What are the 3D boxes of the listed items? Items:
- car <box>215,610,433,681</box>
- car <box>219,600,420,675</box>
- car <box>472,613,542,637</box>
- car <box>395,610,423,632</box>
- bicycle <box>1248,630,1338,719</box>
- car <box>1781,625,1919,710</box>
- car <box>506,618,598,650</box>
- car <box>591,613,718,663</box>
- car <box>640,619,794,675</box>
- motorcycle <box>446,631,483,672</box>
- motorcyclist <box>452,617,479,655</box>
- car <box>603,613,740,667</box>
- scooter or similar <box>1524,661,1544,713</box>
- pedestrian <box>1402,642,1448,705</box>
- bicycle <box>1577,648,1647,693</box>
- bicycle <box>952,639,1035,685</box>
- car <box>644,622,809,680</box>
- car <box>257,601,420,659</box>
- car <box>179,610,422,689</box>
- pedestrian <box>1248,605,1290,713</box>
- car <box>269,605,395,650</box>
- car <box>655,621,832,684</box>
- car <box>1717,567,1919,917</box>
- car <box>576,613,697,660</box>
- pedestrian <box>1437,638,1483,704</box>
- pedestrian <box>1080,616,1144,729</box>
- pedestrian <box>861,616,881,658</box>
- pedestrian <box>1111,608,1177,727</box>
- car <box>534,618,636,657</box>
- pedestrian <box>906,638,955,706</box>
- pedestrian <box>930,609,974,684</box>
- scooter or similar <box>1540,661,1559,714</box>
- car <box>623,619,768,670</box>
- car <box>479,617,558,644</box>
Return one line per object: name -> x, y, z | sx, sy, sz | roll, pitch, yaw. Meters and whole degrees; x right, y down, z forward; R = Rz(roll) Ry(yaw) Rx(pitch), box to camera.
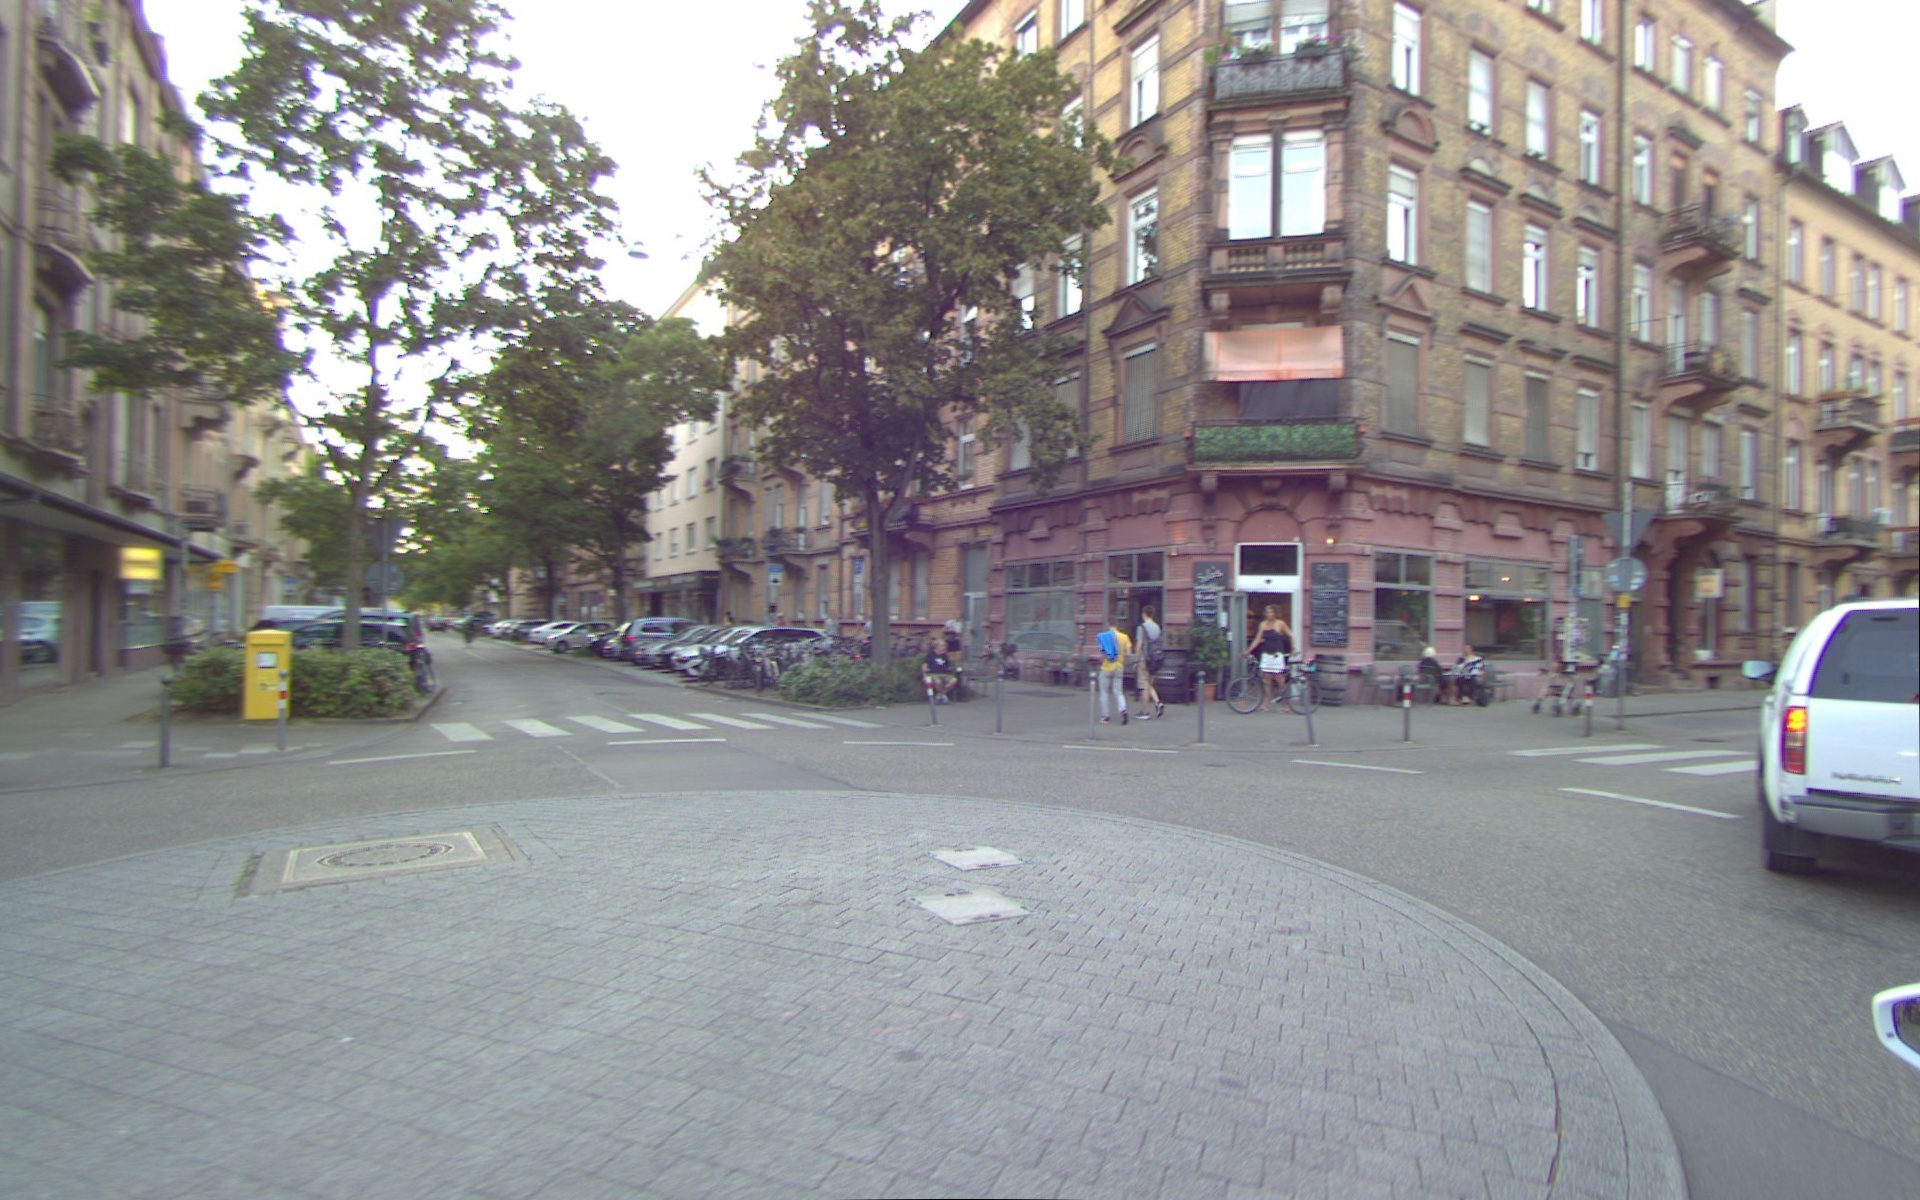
car -> -15.892, 1.139, 25.341 | 4.448, 1.599, 1.982 | 2, 0, -33
car -> -17.357, 1.026, 27.448 | 4.448, 1.855, 1.982 | 2, 0, -33
car -> -33.364, 1.865, 74.061 | 4.448, 1.636, 1.982 | 2, 0, -33
car -> -57.046, 2.151, 103.957 | 1.982, 2.040, 3.958 | 2, 0, -37
bicycle -> 5.778, 1.276, 17.365 | 1.886, 1.462, 0.421 | 2, 0, -36
car -> 21.237, 1.553, 23.626 | 3.956, 1.773, 1.824 | 2, 0, -32
car -> -22.787, 1.920, 56.097 | 4.448, 1.636, 1.982 | 2, 0, -33
car -> -12.124, 1.530, 39.986 | 4.448, 1.822, 1.982 | 2, 0, -33
car -> -7.845, 1.508, 32.584 | 4.448, 1.641, 1.982 | 2, 0, -33
motorcycle -> -27.628, 2.848, 55.968 | 1.156, 2.040, 3.958 | 2, 0, -36
motorcyclist -> -27.461, 2.002, 55.792 | 1.156, 2.040, 1.029 | 2, 0, -37
car -> -10.589, 1.472, 36.957 | 4.448, 1.822, 1.982 | 2, 0, -33
scooter or similar -> 11.137, 1.669, 19.478 | 0.230, 0.941, 1.262 | 2, 0, 33
pedestrian -> 9.352, 1.474, 20.208 | 0.534, 1.206, 0.644 | 2, 0, -35
bicycle -> 16.082, 1.735, 24.762 | 2.454, 1.050, 0.385 | 2, 0, -31
bicycle -> 0.812, 1.559, 25.746 | 0.618, 0.971, 2.880 | 2, 0, -32
car -> -7.074, 1.543, 30.549 | 4.448, 1.599, 1.982 | 2, 0, -33
car -> -22.795, 1.112, 37.016 | 4.951, 1.977, 1.982 | 2, 0, -33
car -> -14.925, 1.118, 22.999 | 4.448, 1.599, 1.982 | 2, 0, -33
pedestrian -> 5.483, 1.038, 17.834 | 0.497, 1.864, 0.571 | 2, 0, 36
car -> -29.828, 1.316, 47.871 | 4.951, 1.977, 1.982 | 2, 0, -33
car -> -6.088, 1.468, 28.393 | 4.448, 1.599, 1.982 | 2, 0, -33
car -> 6.708, 0.835, 7.148 | 1.912, 1.834, 4.985 | 0, -2, 35
car -> -13.608, 1.540, 42.328 | 4.448, 1.822, 1.982 | 2, 0, -33
pedestrian -> 10.362, 1.465, 20.804 | 0.534, 1.303, 0.644 | 2, 0, -35
pedestrian -> 2.458, 1.152, 16.339 | 0.607, 1.759, 0.902 | 2, 0, -22
pedestrian -> -2.764, 1.148, 31.306 | 0.564, 1.279, 0.456 | 2, 0, -7
pedestrian -> 3.096, 1.112, 16.857 | 0.890, 1.910, 0.615 | 2, 0, 28
car -> -18.654, 1.873, 50.030 | 4.448, 1.822, 1.982 | 2, 0, -33
pedestrian -> -0.588, 1.422, 19.951 | 0.661, 1.279, 0.750 | 2, 0, -32
pedestrian -> -0.200, 1.113, 24.354 | 0.661, 1.748, 0.914 | 2, 0, -32
scooter or similar -> 11.353, 1.676, 19.335 | 0.230, 0.941, 1.262 | 2, 0, 33
car -> -9.124, 1.541, 34.750 | 4.448, 1.599, 1.982 | 2, 0, -33
car -> -28.618, 1.978, 65.137 | 4.448, 1.636, 1.982 | 2, 0, -33
